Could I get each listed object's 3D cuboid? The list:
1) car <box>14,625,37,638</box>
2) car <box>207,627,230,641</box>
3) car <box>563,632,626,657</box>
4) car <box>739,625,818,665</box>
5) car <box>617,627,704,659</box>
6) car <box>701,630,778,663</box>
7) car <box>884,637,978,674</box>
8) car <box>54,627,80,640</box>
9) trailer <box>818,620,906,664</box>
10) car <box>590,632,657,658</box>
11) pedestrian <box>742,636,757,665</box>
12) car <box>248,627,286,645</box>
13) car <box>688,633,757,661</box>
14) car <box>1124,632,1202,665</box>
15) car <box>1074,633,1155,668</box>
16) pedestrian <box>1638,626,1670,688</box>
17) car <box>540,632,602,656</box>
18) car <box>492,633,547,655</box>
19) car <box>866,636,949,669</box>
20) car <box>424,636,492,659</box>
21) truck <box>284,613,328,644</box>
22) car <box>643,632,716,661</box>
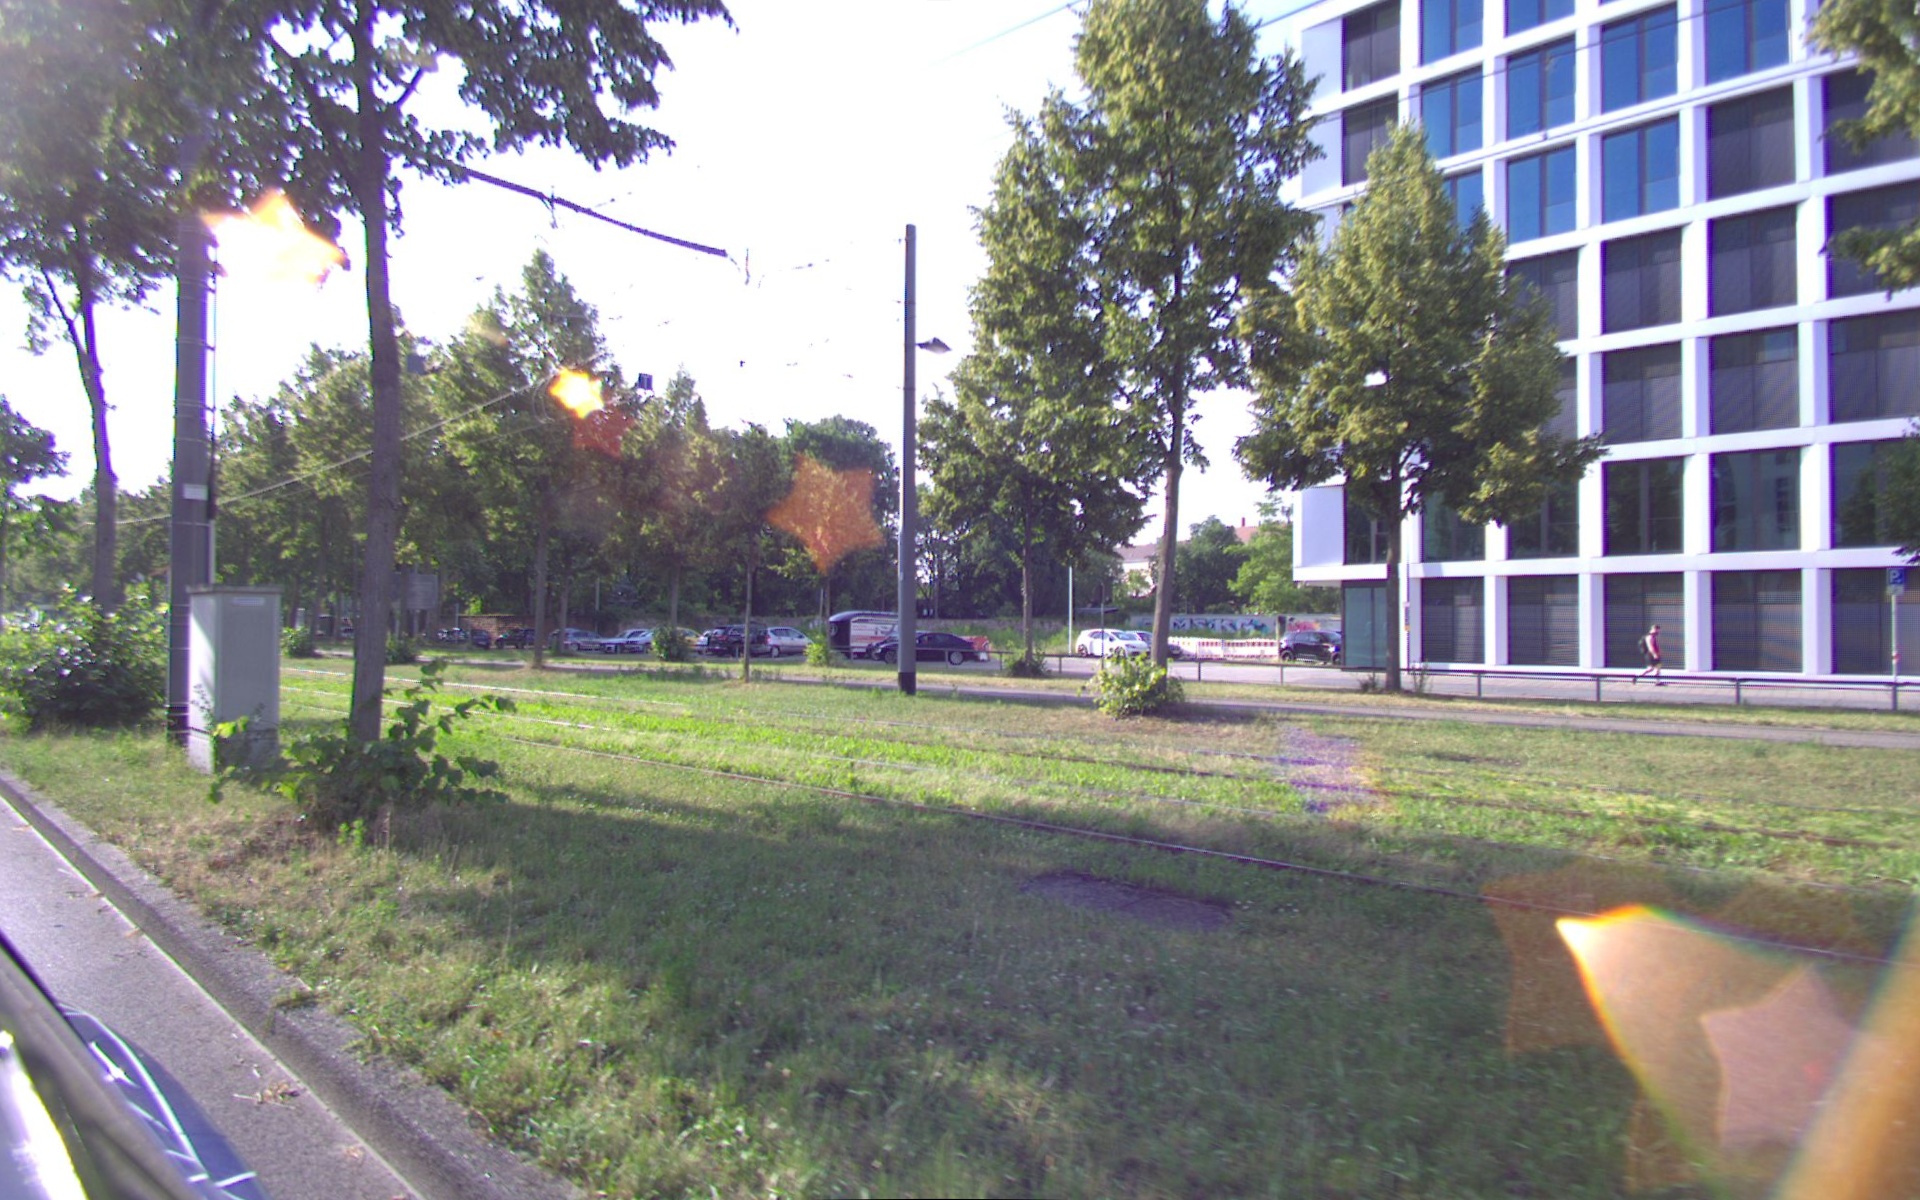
[{"bbox_3d":[-107.650,3.656,116.526,3.695,1.403,1.566,-1,0,41],"label":"car"},{"bbox_3d":[-77.016,3.497,105.078,1.564,1.286,3.964,-1,0,-42],"label":"car"},{"bbox_3d":[-25.613,3.099,70.926,3.810,1.497,1.746,-1,0,-41],"label":"car"},{"bbox_3d":[-9.775,2.404,54.569,1.757,1.962,3.950,-1,0,41],"label":"car"},{"bbox_3d":[-18.793,2.690,63.733,1.886,1.748,5.004,-1,0,43],"label":"car"},{"bbox_3d":[-12.278,2.549,56.448,1.757,1.655,3.950,-1,0,41],"label":"car"},{"bbox_3d":[-1.231,2.389,43.532,3.943,1.437,1.776,-1,0,-1],"label":"car"},{"bbox_3d":[-105.243,3.926,119.305,4.811,1.487,1.664,-1,-4,42],"label":"car"},{"bbox_3d":[-4.946,2.086,51.403,1.758,2.069,4.315,-1,0,44],"label":"trailer"},{"bbox_3d":[-21.512,2.855,64.758,1.810,1.439,3.607,-1,0,43],"label":"car"},{"bbox_3d":[-11.126,2.637,53.377,0.568,1.491,0.516,-1,0,40],"label":"pedestrian"},{"bbox_3d":[-61.354,3.198,89.518,4.474,1.442,1.811,-1,0,42],"label":"car"},{"bbox_3d":[-13.793,2.697,58.877,1.725,1.436,3.530,-1,0,42],"label":"car"},{"bbox_3d":[10.878,2.583,54.447,1.662,1.569,4.009,-1,0,-37],"label":"car"},{"bbox_3d":[8.065,2.600,53.053,1.824,1.608,4.008,-1,0,-38],"label":"car"},{"bbox_3d":[20.057,1.643,29.258,0.691,1.741,0.561,-1,0,41],"label":"pedestrian"},{"bbox_3d":[-27.800,3.116,72.388,3.810,1.497,1.746,-1,0,-41],"label":"car"},{"bbox_3d":[-32.998,3.266,75.782,4.352,1.453,1.770,-1,0,36],"label":"car"},{"bbox_3d":[-2.527,2.482,48.198,3.756,1.404,1.663,-1,0,38],"label":"car"},{"bbox_3d":[-33.901,3.203,68.406,3.997,1.446,1.679,-1,0,15],"label":"car"},{"bbox_3d":[-77.636,3.288,120.056,2.855,3.542,7.950,-1,0,-44],"label":"truck"},{"bbox_3d":[-17.187,2.827,62.078,1.856,1.572,3.943,-1,0,43],"label":"car"}]
